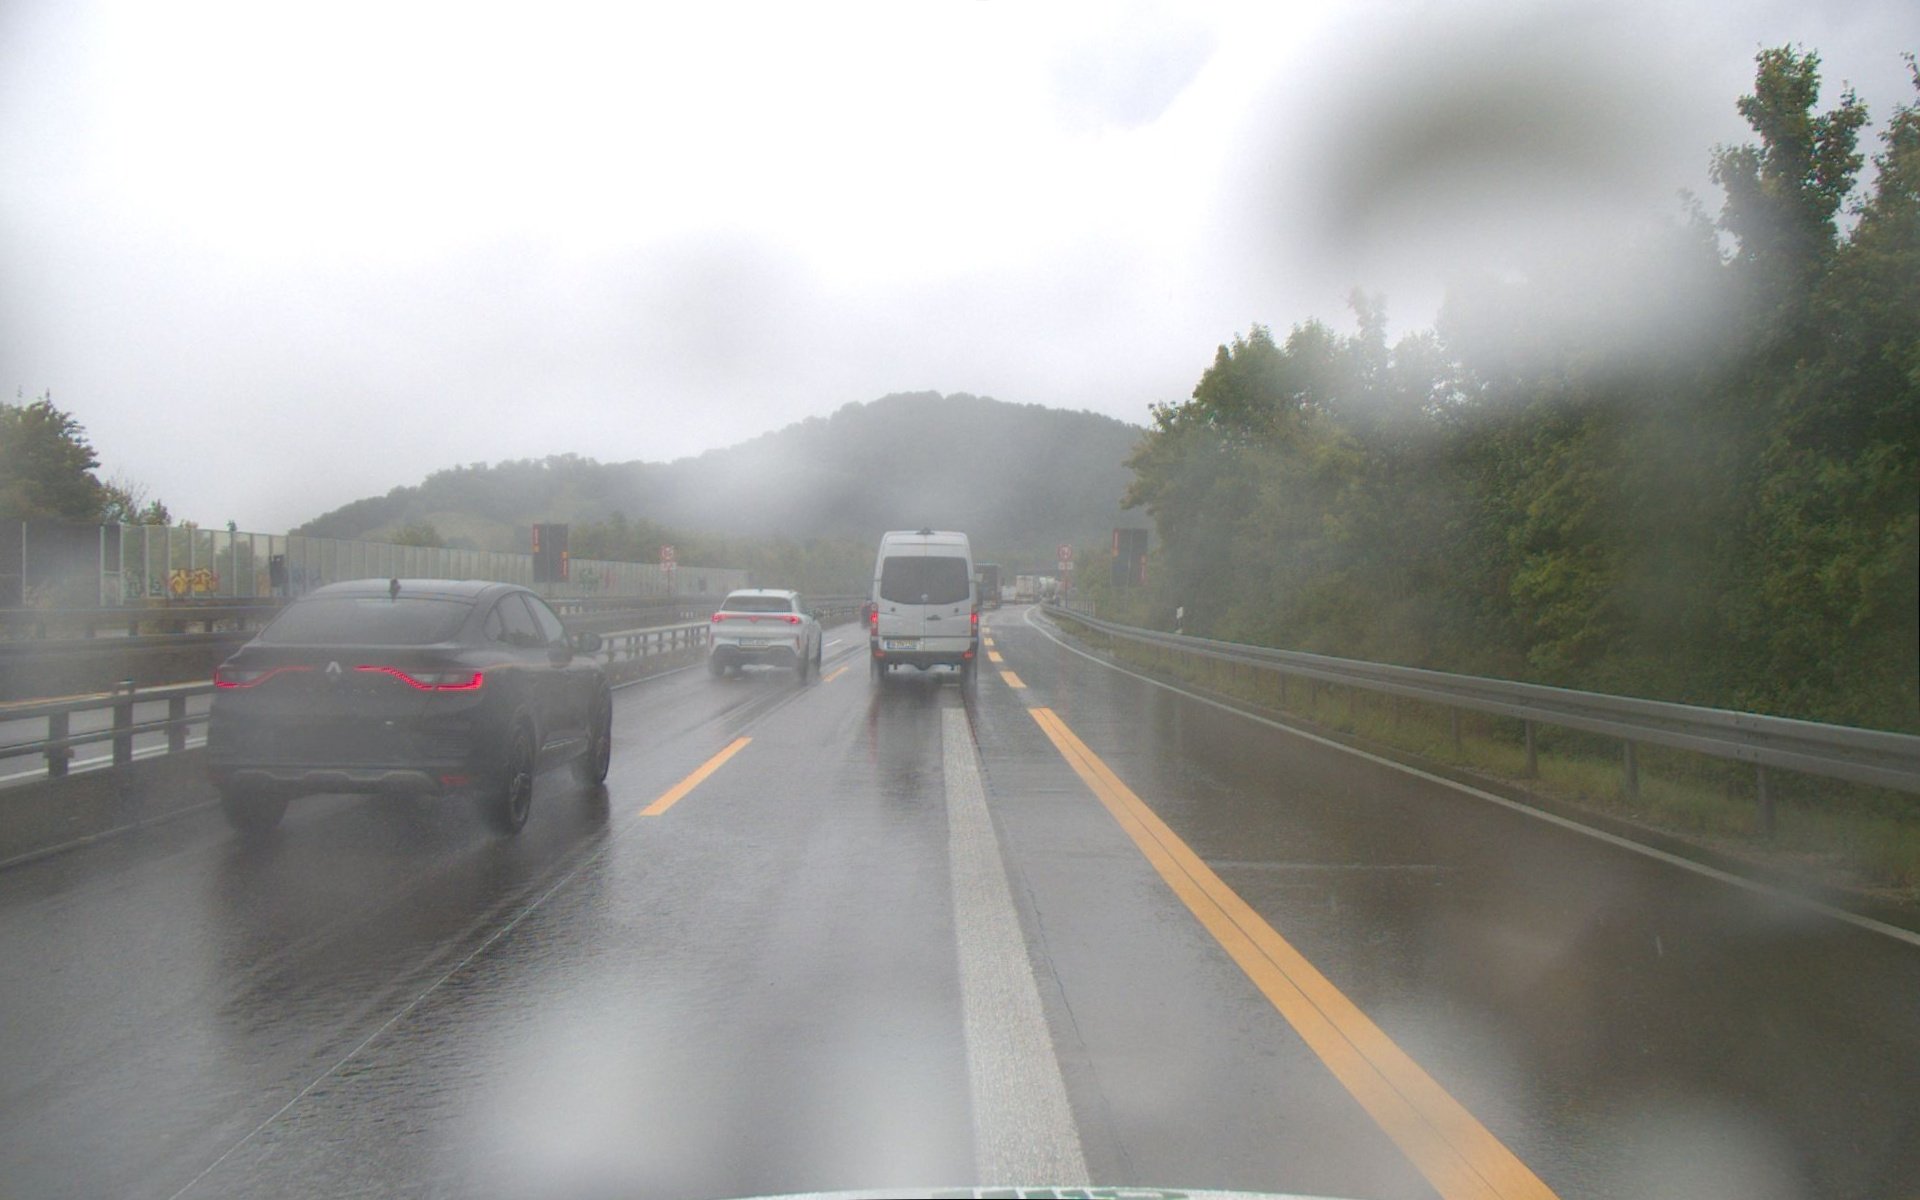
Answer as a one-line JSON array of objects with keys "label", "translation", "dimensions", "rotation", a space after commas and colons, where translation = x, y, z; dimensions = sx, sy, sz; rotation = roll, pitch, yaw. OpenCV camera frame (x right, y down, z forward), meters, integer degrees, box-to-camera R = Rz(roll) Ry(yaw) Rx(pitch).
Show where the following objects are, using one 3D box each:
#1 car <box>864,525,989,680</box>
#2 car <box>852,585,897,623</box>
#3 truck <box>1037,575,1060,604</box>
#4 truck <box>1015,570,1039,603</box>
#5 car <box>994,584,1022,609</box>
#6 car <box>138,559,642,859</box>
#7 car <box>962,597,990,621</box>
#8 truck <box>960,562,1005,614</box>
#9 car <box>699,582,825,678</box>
[{"label": "car", "translation": [-0.616, 0.052, 31.161], "dimensions": [2.101, 2.616, 5.388], "rotation": [1, 0, -1]}, {"label": "car", "translation": [-3.746, 0.185, 72.607], "dimensions": [1.908, 1.588, 3.998], "rotation": [1, 0, -3]}, {"label": "truck", "translation": [14.242, -1.608, 264.972], "dimensions": [2.837, 4.483, 9.631], "rotation": [1, 0, 8]}, {"label": "truck", "translation": [9.427, -1.876, 232.022], "dimensions": [2.972, 4.483, 9.629], "rotation": [1, 0, 4]}, {"label": "car", "translation": [5.703, -0.389, 196.598], "dimensions": [2.837, 2.938, 6.415], "rotation": [1, 0, 6]}, {"label": "car", "translation": [-3.549, 0.606, 11.288], "dimensions": [1.953, 1.613, 4.412], "rotation": [1, 0, -1]}, {"label": "car", "translation": [1.098, 0.593, 110.414], "dimensions": [1.737, 1.501, 4.001], "rotation": [1, 0, 2]}, {"label": "truck", "translation": [2.110, -1.019, 150.759], "dimensions": [3.506, 4.483, 9.628], "rotation": [1, 0, 4]}, {"label": "car", "translation": [-3.676, 0.534, 31.511], "dimensions": [1.953, 1.646, 4.794], "rotation": [1, 0, -2]}]
